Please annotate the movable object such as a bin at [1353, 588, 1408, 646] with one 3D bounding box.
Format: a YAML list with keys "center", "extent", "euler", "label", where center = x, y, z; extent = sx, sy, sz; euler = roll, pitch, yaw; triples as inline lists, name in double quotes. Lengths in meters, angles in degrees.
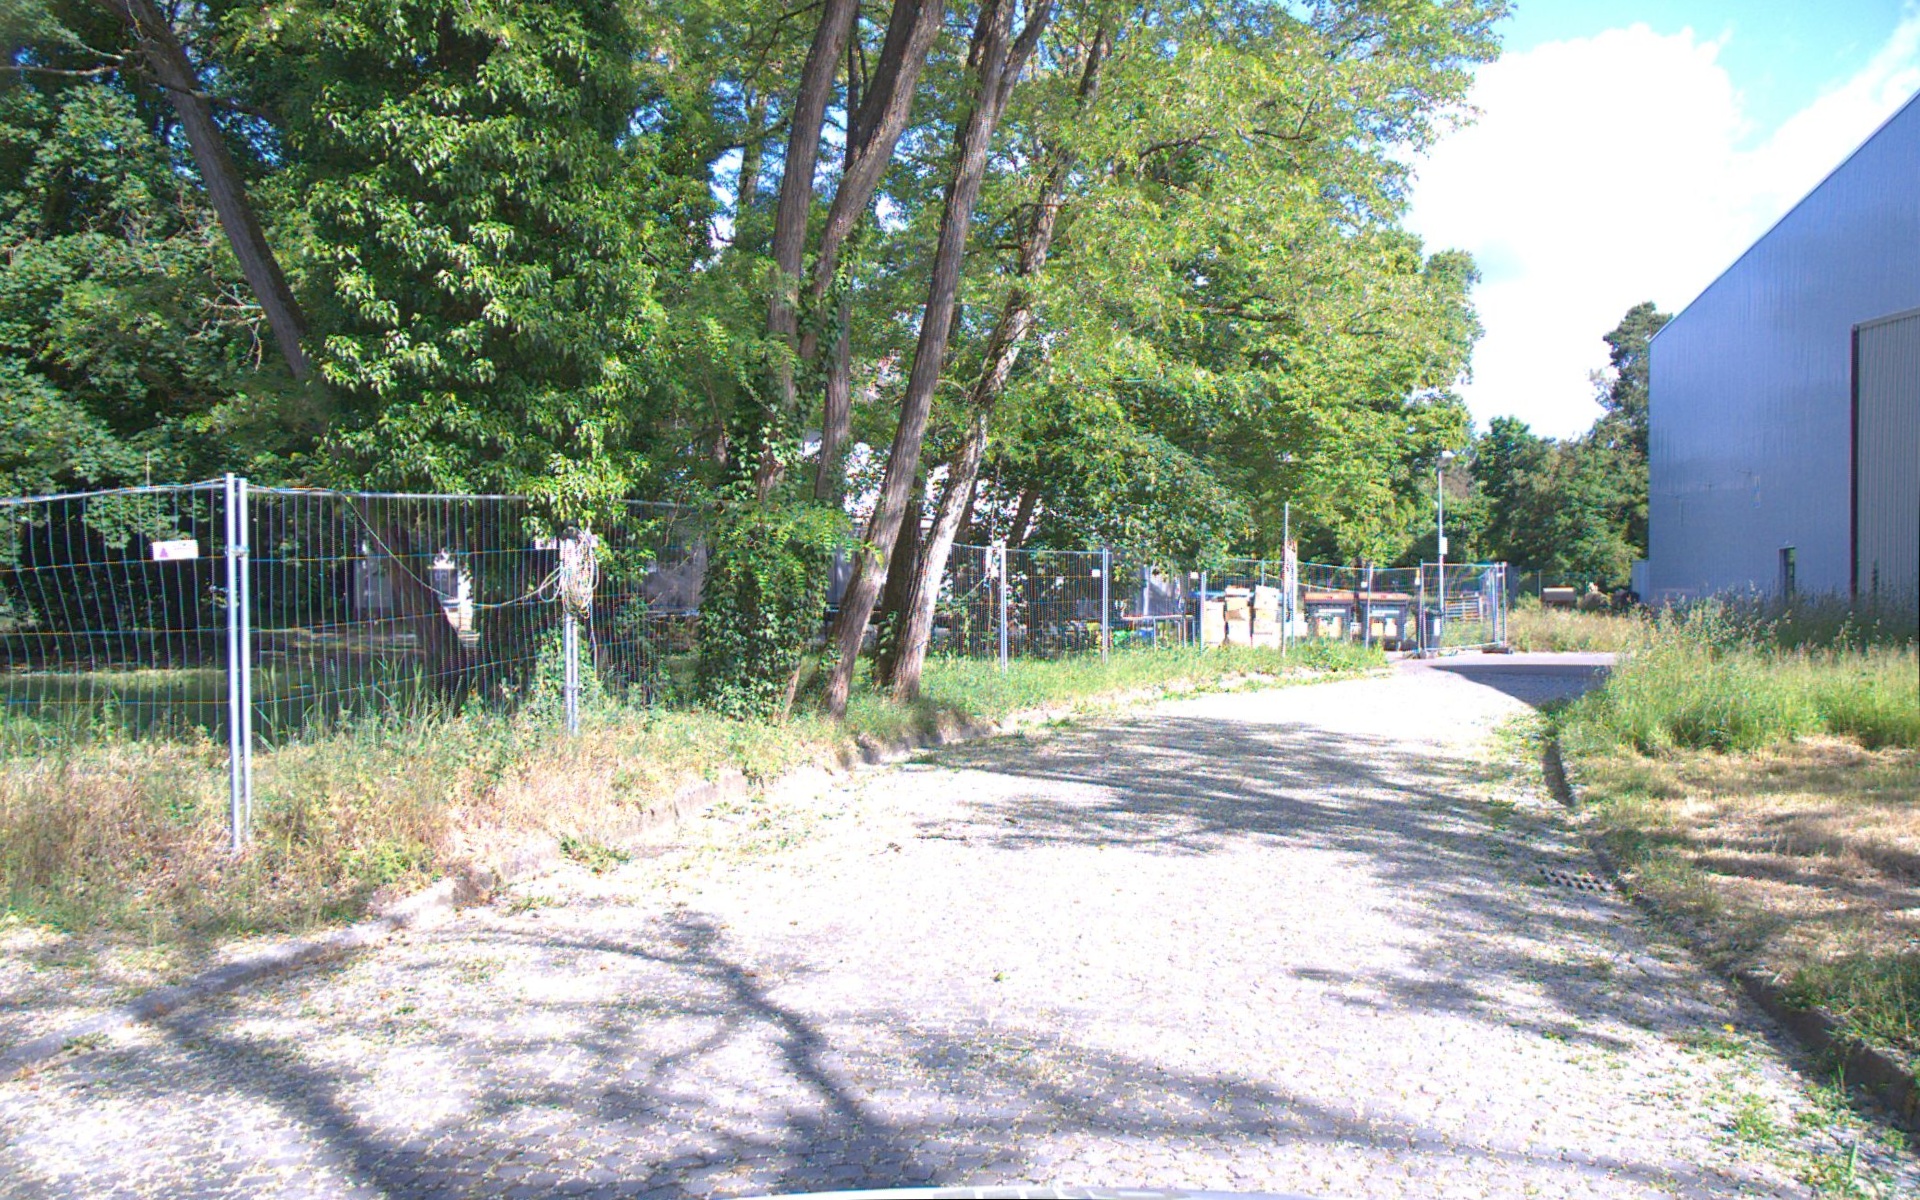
- center: [10.616, 0.423, 41.836]
  extent: [1.260, 1.451, 1.033]
  euler: [-1, 0, 10]
  label: "movable object such as a bin"

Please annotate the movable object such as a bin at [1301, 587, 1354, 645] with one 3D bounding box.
- center: [9.342, 0.412, 42.082]
  extent: [1.260, 1.451, 1.033]
  euler: [-1, 0, 11]
  label: "movable object such as a bin"

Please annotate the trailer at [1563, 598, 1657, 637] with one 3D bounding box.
- center: [20.865, 0.553, 53.139]
  extent: [2.652, 1.221, 1.247]
  euler: [-1, 0, 13]
  label: "trailer"

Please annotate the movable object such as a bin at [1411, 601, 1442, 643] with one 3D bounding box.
- center: [11.683, 0.553, 41.410]
  extent: [0.629, 1.025, 0.604]
  euler: [-1, 0, 29]
  label: "movable object such as a bin"

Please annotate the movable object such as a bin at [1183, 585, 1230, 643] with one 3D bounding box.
- center: [6.358, 0.361, 42.686]
  extent: [1.061, 1.463, 1.057]
  euler: [-1, 0, 16]
  label: "movable object such as a bin"

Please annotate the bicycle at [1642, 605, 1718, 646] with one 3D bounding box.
- center: [19.619, 0.705, 45.082]
  extent: [1.843, 1.101, 0.434]
  euler: [-1, 0, 13]
  label: "bicycle"

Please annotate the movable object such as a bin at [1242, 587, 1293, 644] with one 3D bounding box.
- center: [7.904, 0.393, 42.438]
  extent: [1.260, 1.451, 1.033]
  euler: [-1, 0, 11]
  label: "movable object such as a bin"
